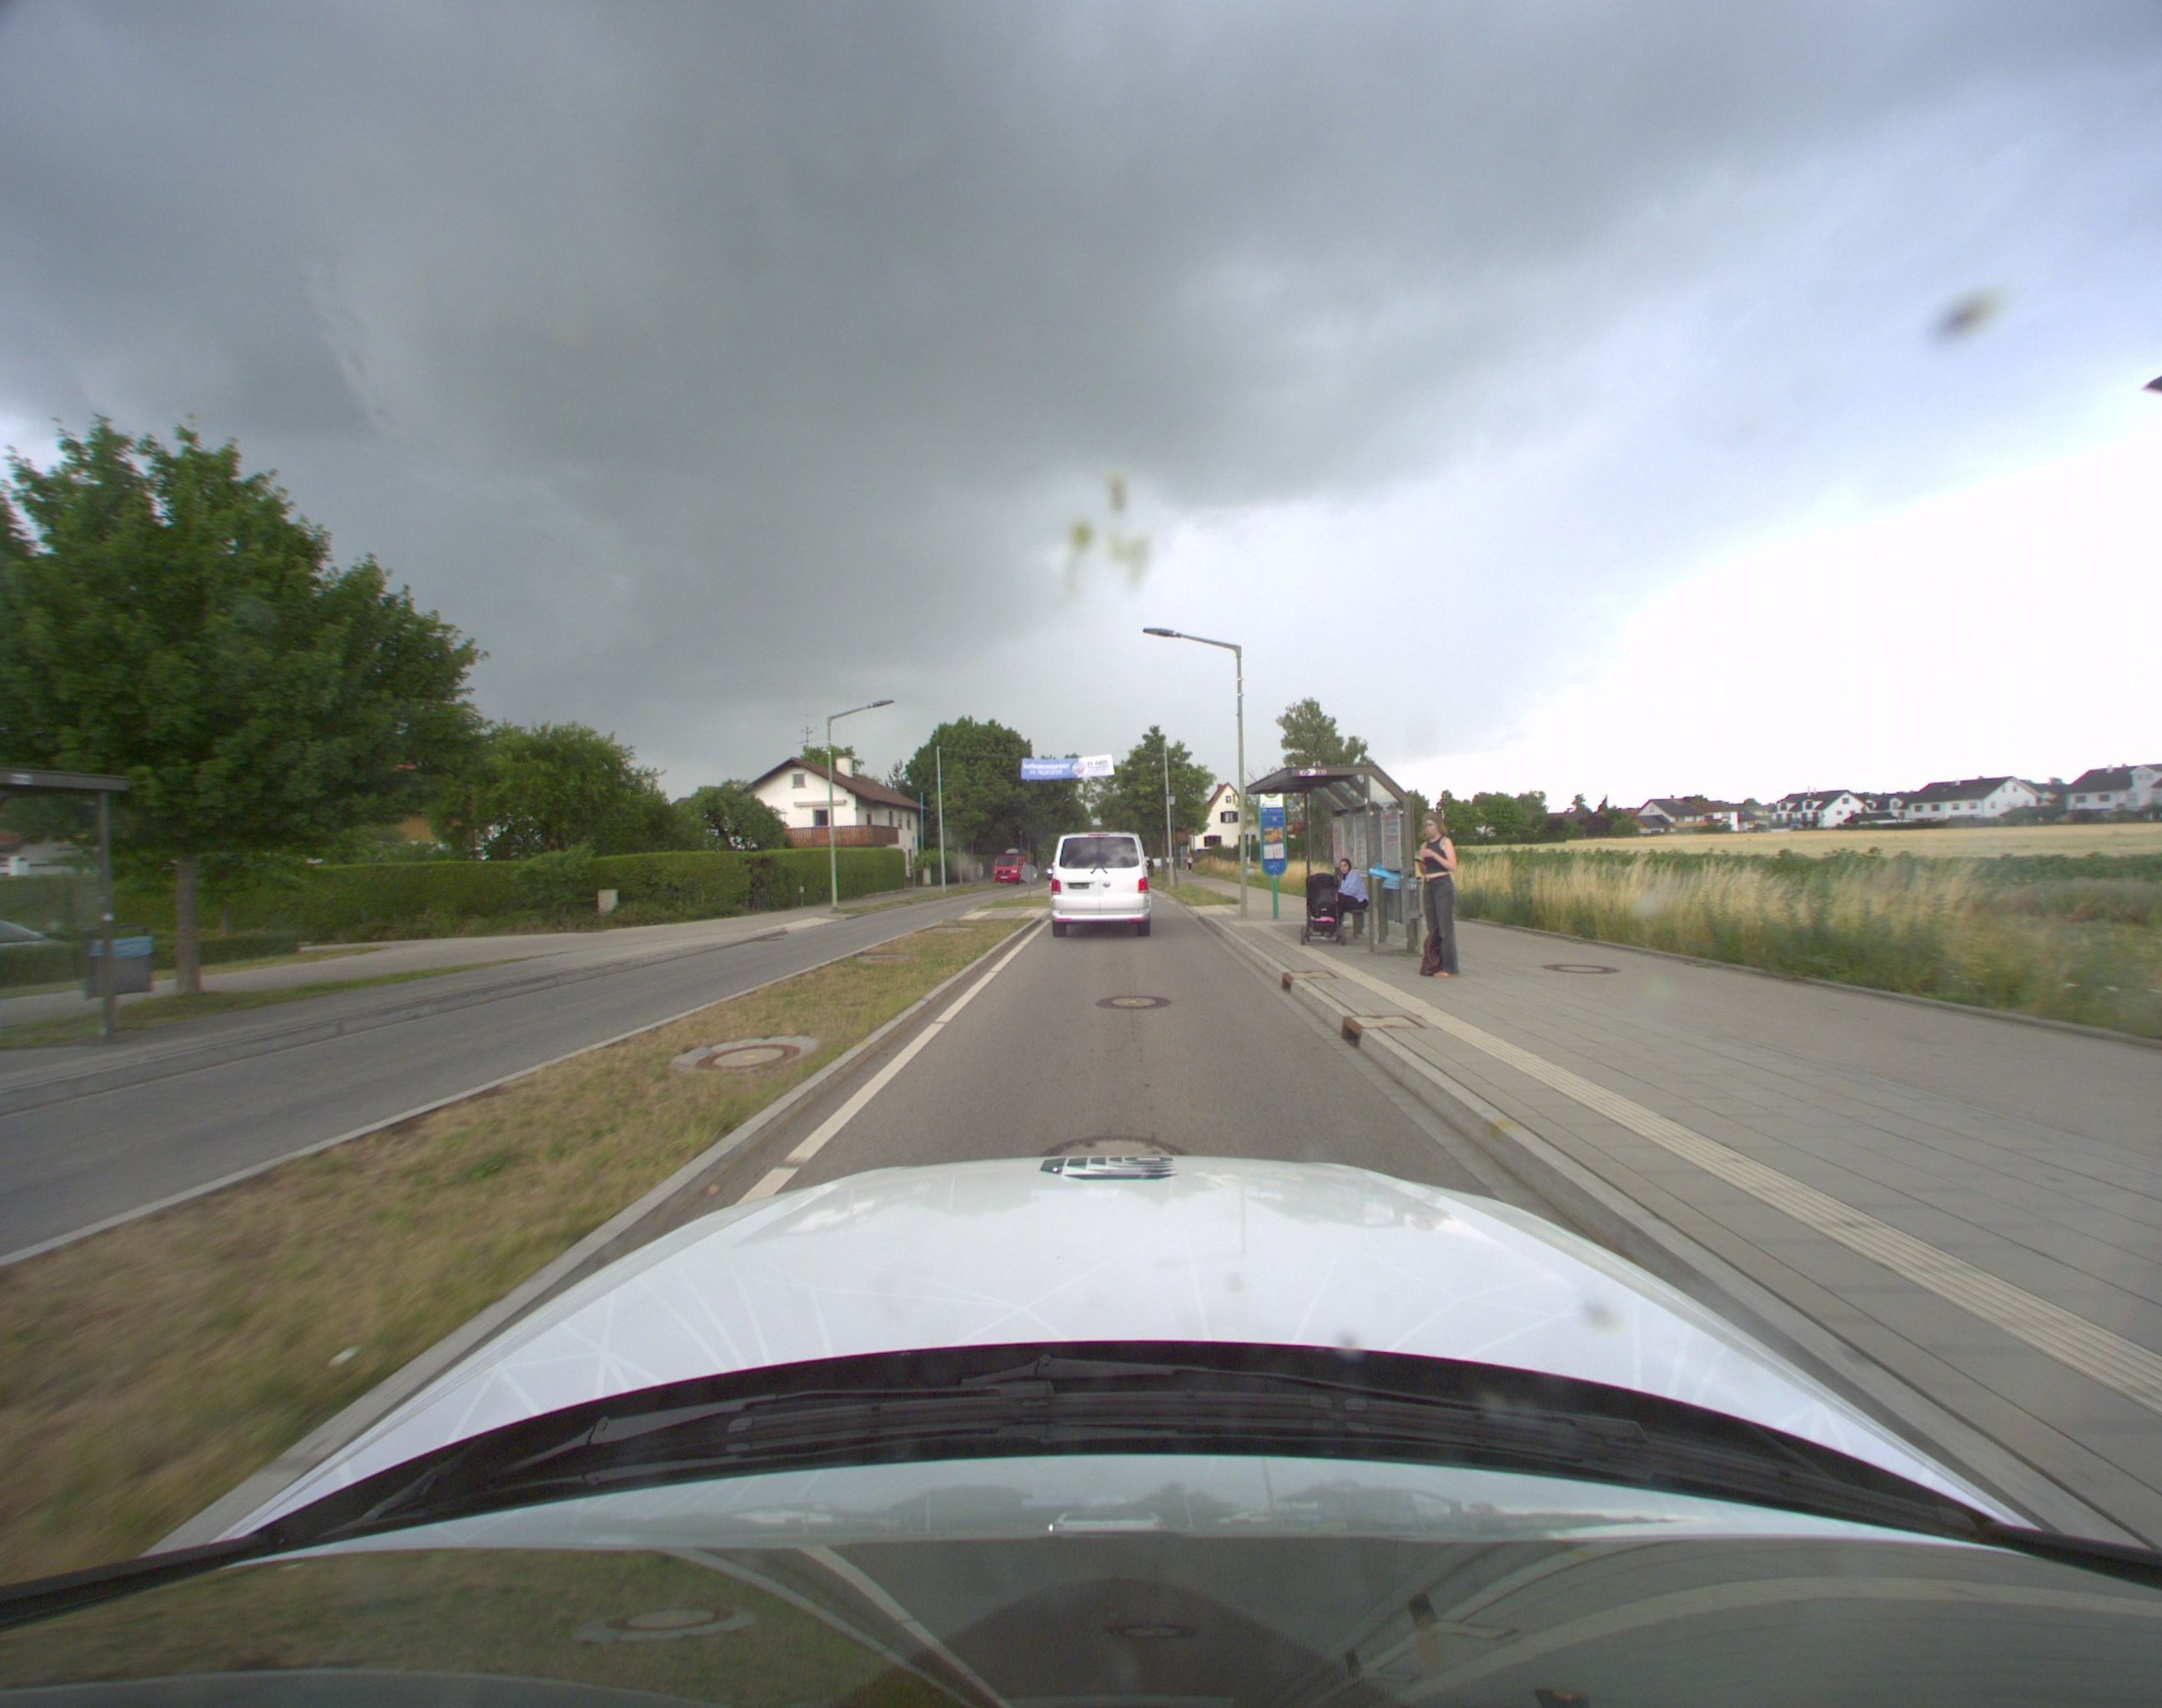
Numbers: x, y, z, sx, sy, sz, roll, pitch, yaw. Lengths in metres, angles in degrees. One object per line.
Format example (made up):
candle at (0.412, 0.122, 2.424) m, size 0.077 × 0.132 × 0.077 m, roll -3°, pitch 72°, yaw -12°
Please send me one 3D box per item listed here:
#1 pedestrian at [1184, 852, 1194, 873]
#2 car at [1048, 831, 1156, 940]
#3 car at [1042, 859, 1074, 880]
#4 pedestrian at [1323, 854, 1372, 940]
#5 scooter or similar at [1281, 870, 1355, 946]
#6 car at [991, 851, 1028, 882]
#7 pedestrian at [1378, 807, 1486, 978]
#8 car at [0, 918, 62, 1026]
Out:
pedestrian at (9.072, 0.683, 68.487) m, size 0.833 × 1.755 × 0.871 m, roll -2°, pitch -1°, yaw 6°
car at (0.432, 0.583, 16.551) m, size 1.881 × 1.912 × 4.001 m, roll -1°, pitch -1°, yaw 1°
car at (-1.748, 1.169, 62.815) m, size 1.911 × 1.453 × 4.501 m, roll -2°, pitch 0°, yaw 4°
pedestrian at (4.116, 0.653, 12.610) m, size 0.660 × 1.302 × 0.506 m, roll 0°, pitch -1°, yaw 11°
scooter or similar at (3.560, 0.781, 12.189) m, size 0.699 × 1.062 × 1.067 m, roll -1°, pitch -1°, yaw 38°
car at (-4.755, 0.798, 54.772) m, size 1.822 × 2.030 × 5.049 m, roll -1°, pitch 0°, yaw 3°
pedestrian at (3.875, 0.400, 9.027) m, size 0.783 × 1.792 × 0.774 m, roll 0°, pitch -1°, yaw -20°
car at (-22.964, 2.393, 15.708) m, size 3.974 × 2.013 × 2.000 m, roll -2°, pitch 0°, yaw -1°
